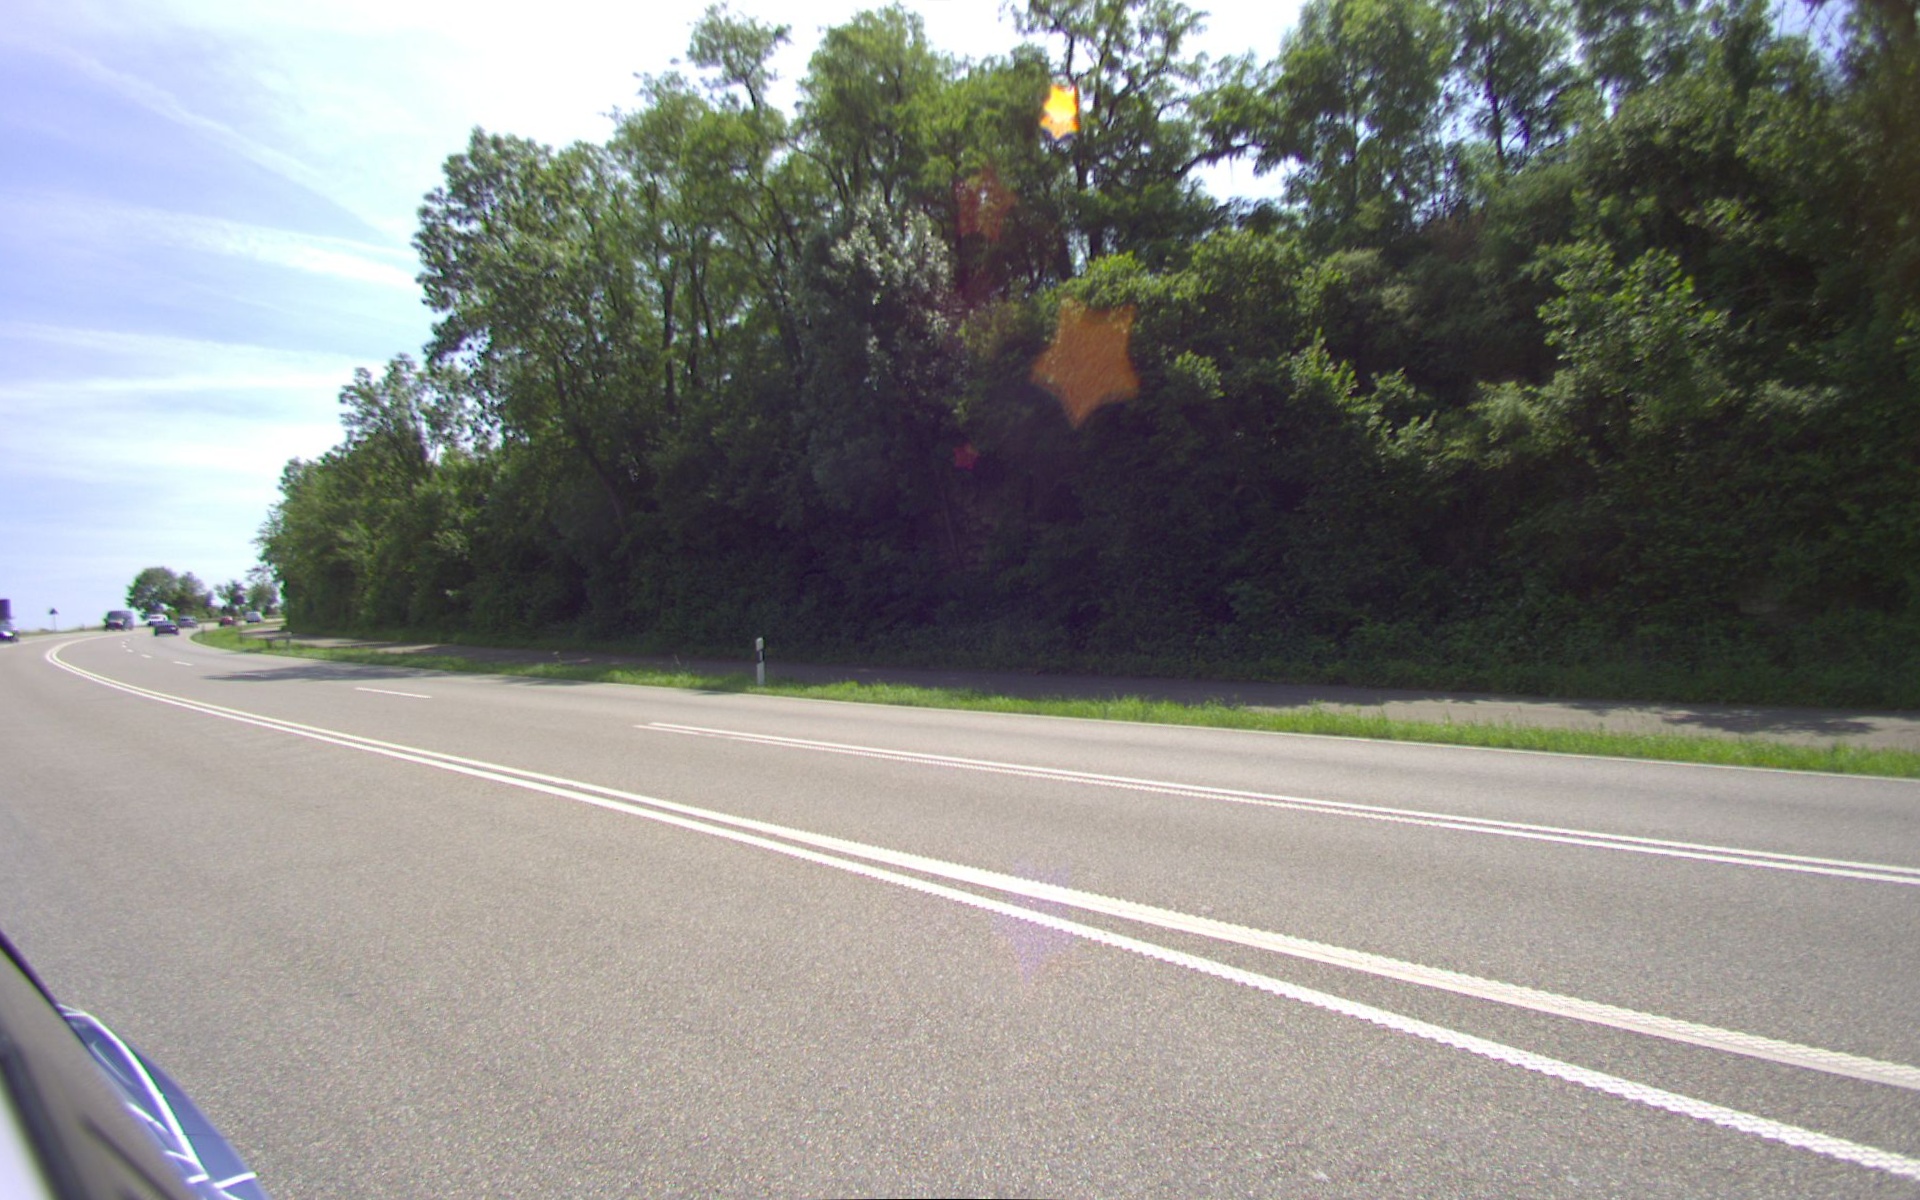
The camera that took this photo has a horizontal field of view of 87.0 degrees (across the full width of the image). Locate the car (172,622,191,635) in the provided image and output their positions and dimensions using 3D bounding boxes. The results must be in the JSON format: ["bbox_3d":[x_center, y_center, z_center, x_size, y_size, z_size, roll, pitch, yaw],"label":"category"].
[{"bbox_3d":[-105.600,3.887,137.369,1.929,1.741,3.920,0,-1,-36],"label":"car"}]

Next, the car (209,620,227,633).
[{"bbox_3d":[-106.655,3.793,145.490,1.967,1.687,4.009,0,0,-36],"label":"car"}]

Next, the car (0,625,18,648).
[{"bbox_3d":[-74.463,2.828,78.313,1.968,1.741,4.008,0,0,-37],"label":"car"}]

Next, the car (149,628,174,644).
[{"bbox_3d":[-74.589,3.379,94.623,1.779,1.398,3.878,0,-1,-38],"label":"car"}]

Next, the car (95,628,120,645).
[{"bbox_3d":[-107.738,4.564,127.875,1.966,2.029,4.011,0,-1,-33],"label":"car"}]

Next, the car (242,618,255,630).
[{"bbox_3d":[-119.151,3.991,169.495,1.788,2.029,3.880,0,0,-35],"label":"car"}]

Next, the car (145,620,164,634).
[{"bbox_3d":[-119.300,3.950,149.856,1.822,2.029,3.883,0,0,-33],"label":"car"}]
